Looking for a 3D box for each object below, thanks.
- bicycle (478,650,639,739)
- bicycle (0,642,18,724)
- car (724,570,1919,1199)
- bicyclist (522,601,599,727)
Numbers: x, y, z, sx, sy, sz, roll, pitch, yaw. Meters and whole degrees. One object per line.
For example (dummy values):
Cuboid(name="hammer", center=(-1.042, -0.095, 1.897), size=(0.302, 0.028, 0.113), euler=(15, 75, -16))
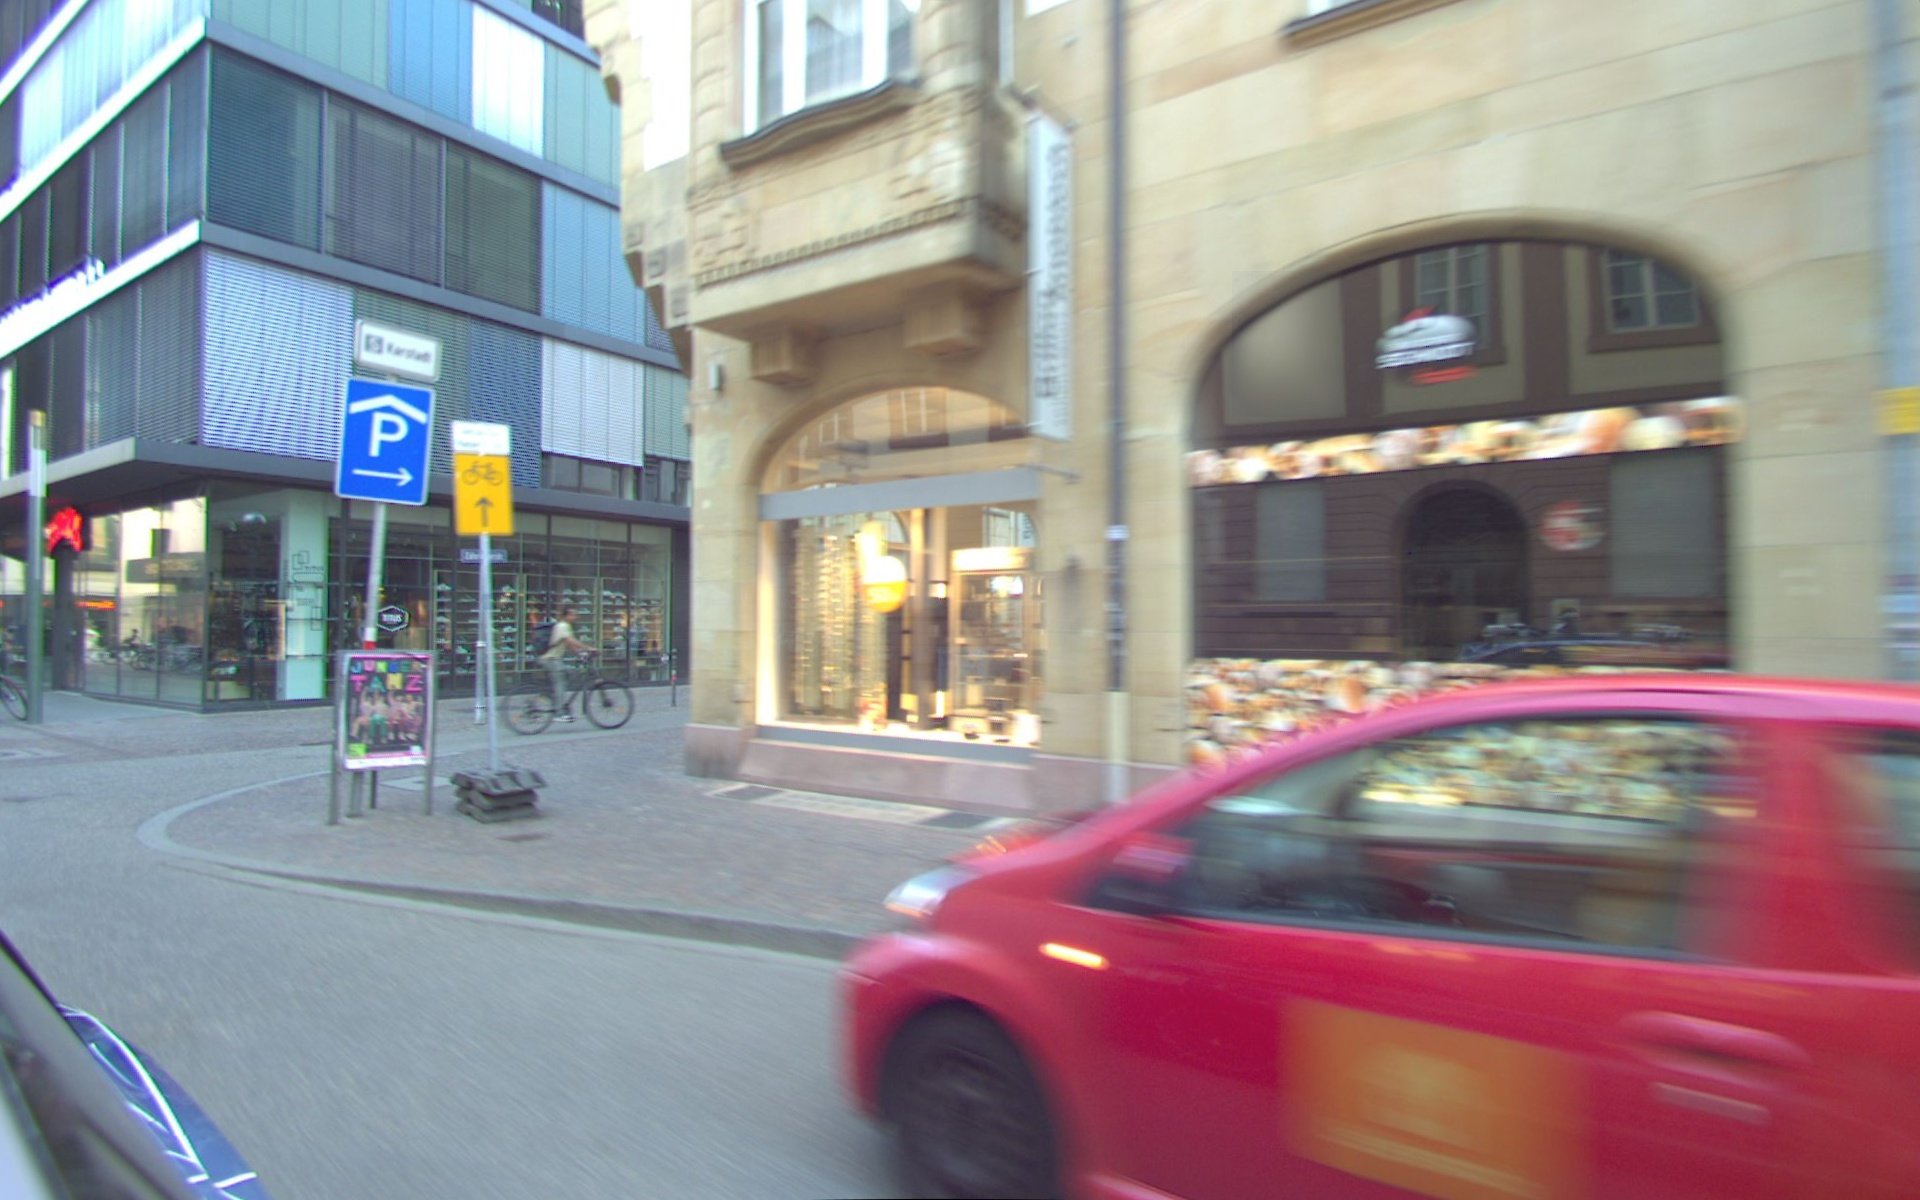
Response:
Cuboid(name="bicycle", center=(-5.561, 1.278, 14.060), size=(1.971, 1.137, 0.702), euler=(1, -2, -32))
Cuboid(name="bicycle", center=(-14.787, 1.245, 14.628), size=(0.508, 1.213, 1.652), euler=(-2, -1, 34))
Cuboid(name="car", center=(1.448, 0.772, 2.300), size=(3.924, 1.481, 1.643), euler=(-1, -5, 36))
Cuboid(name="bicyclist", center=(-5.559, 0.871, 14.076), size=(0.855, 1.683, 0.678), euler=(1, -2, -33))
